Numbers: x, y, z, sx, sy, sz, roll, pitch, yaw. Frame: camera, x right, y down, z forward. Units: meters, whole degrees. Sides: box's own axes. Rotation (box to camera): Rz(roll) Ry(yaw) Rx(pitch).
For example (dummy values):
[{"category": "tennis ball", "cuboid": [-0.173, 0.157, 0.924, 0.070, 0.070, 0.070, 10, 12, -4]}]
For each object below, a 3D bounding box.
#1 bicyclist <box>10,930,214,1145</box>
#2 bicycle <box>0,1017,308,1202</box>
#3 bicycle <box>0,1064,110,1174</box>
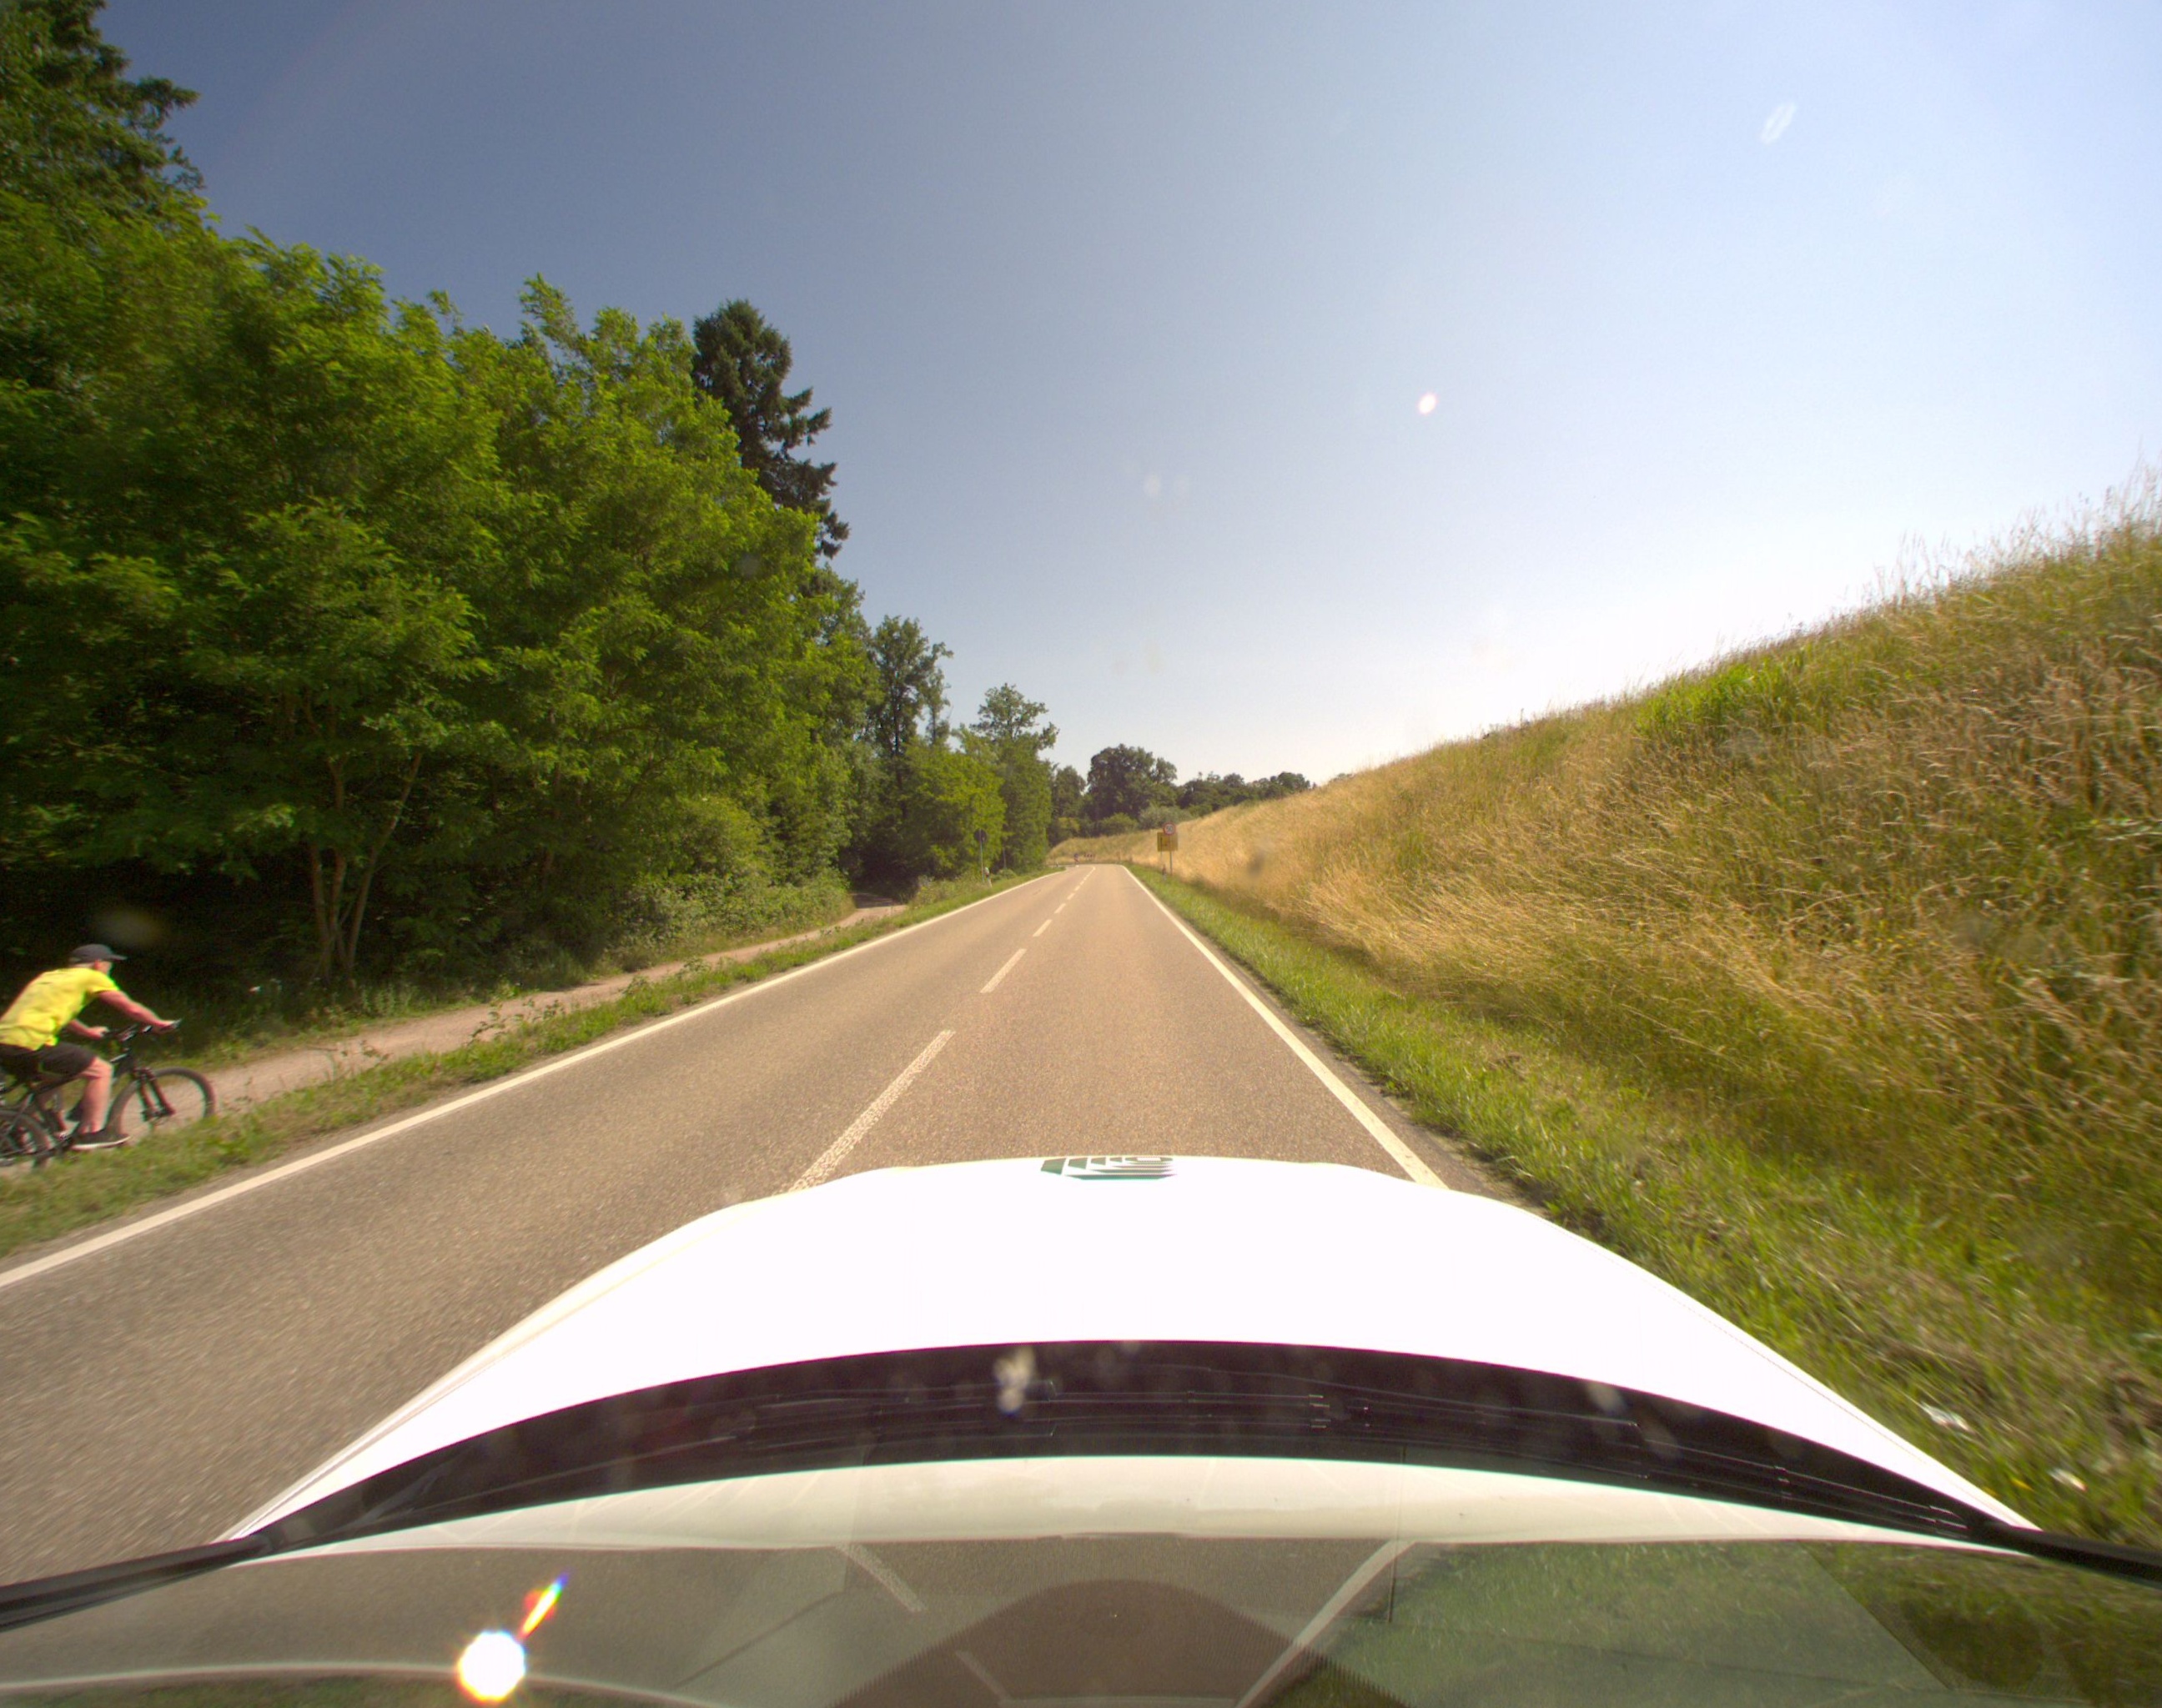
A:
[{"category": "bicyclist", "cuboid": [-7.214, 1.328, 6.096, 0.603, 1.415, 0.703, -4, -1, 1]}, {"category": "bicycle", "cuboid": [-7.196, 1.853, 6.121, 0.637, 0.788, 2.137, -4, 0, 2]}, {"category": "bicycle", "cuboid": [-8.594, 2.091, 5.842, 0.617, 0.681, 2.137, 0, -2, 2]}]
